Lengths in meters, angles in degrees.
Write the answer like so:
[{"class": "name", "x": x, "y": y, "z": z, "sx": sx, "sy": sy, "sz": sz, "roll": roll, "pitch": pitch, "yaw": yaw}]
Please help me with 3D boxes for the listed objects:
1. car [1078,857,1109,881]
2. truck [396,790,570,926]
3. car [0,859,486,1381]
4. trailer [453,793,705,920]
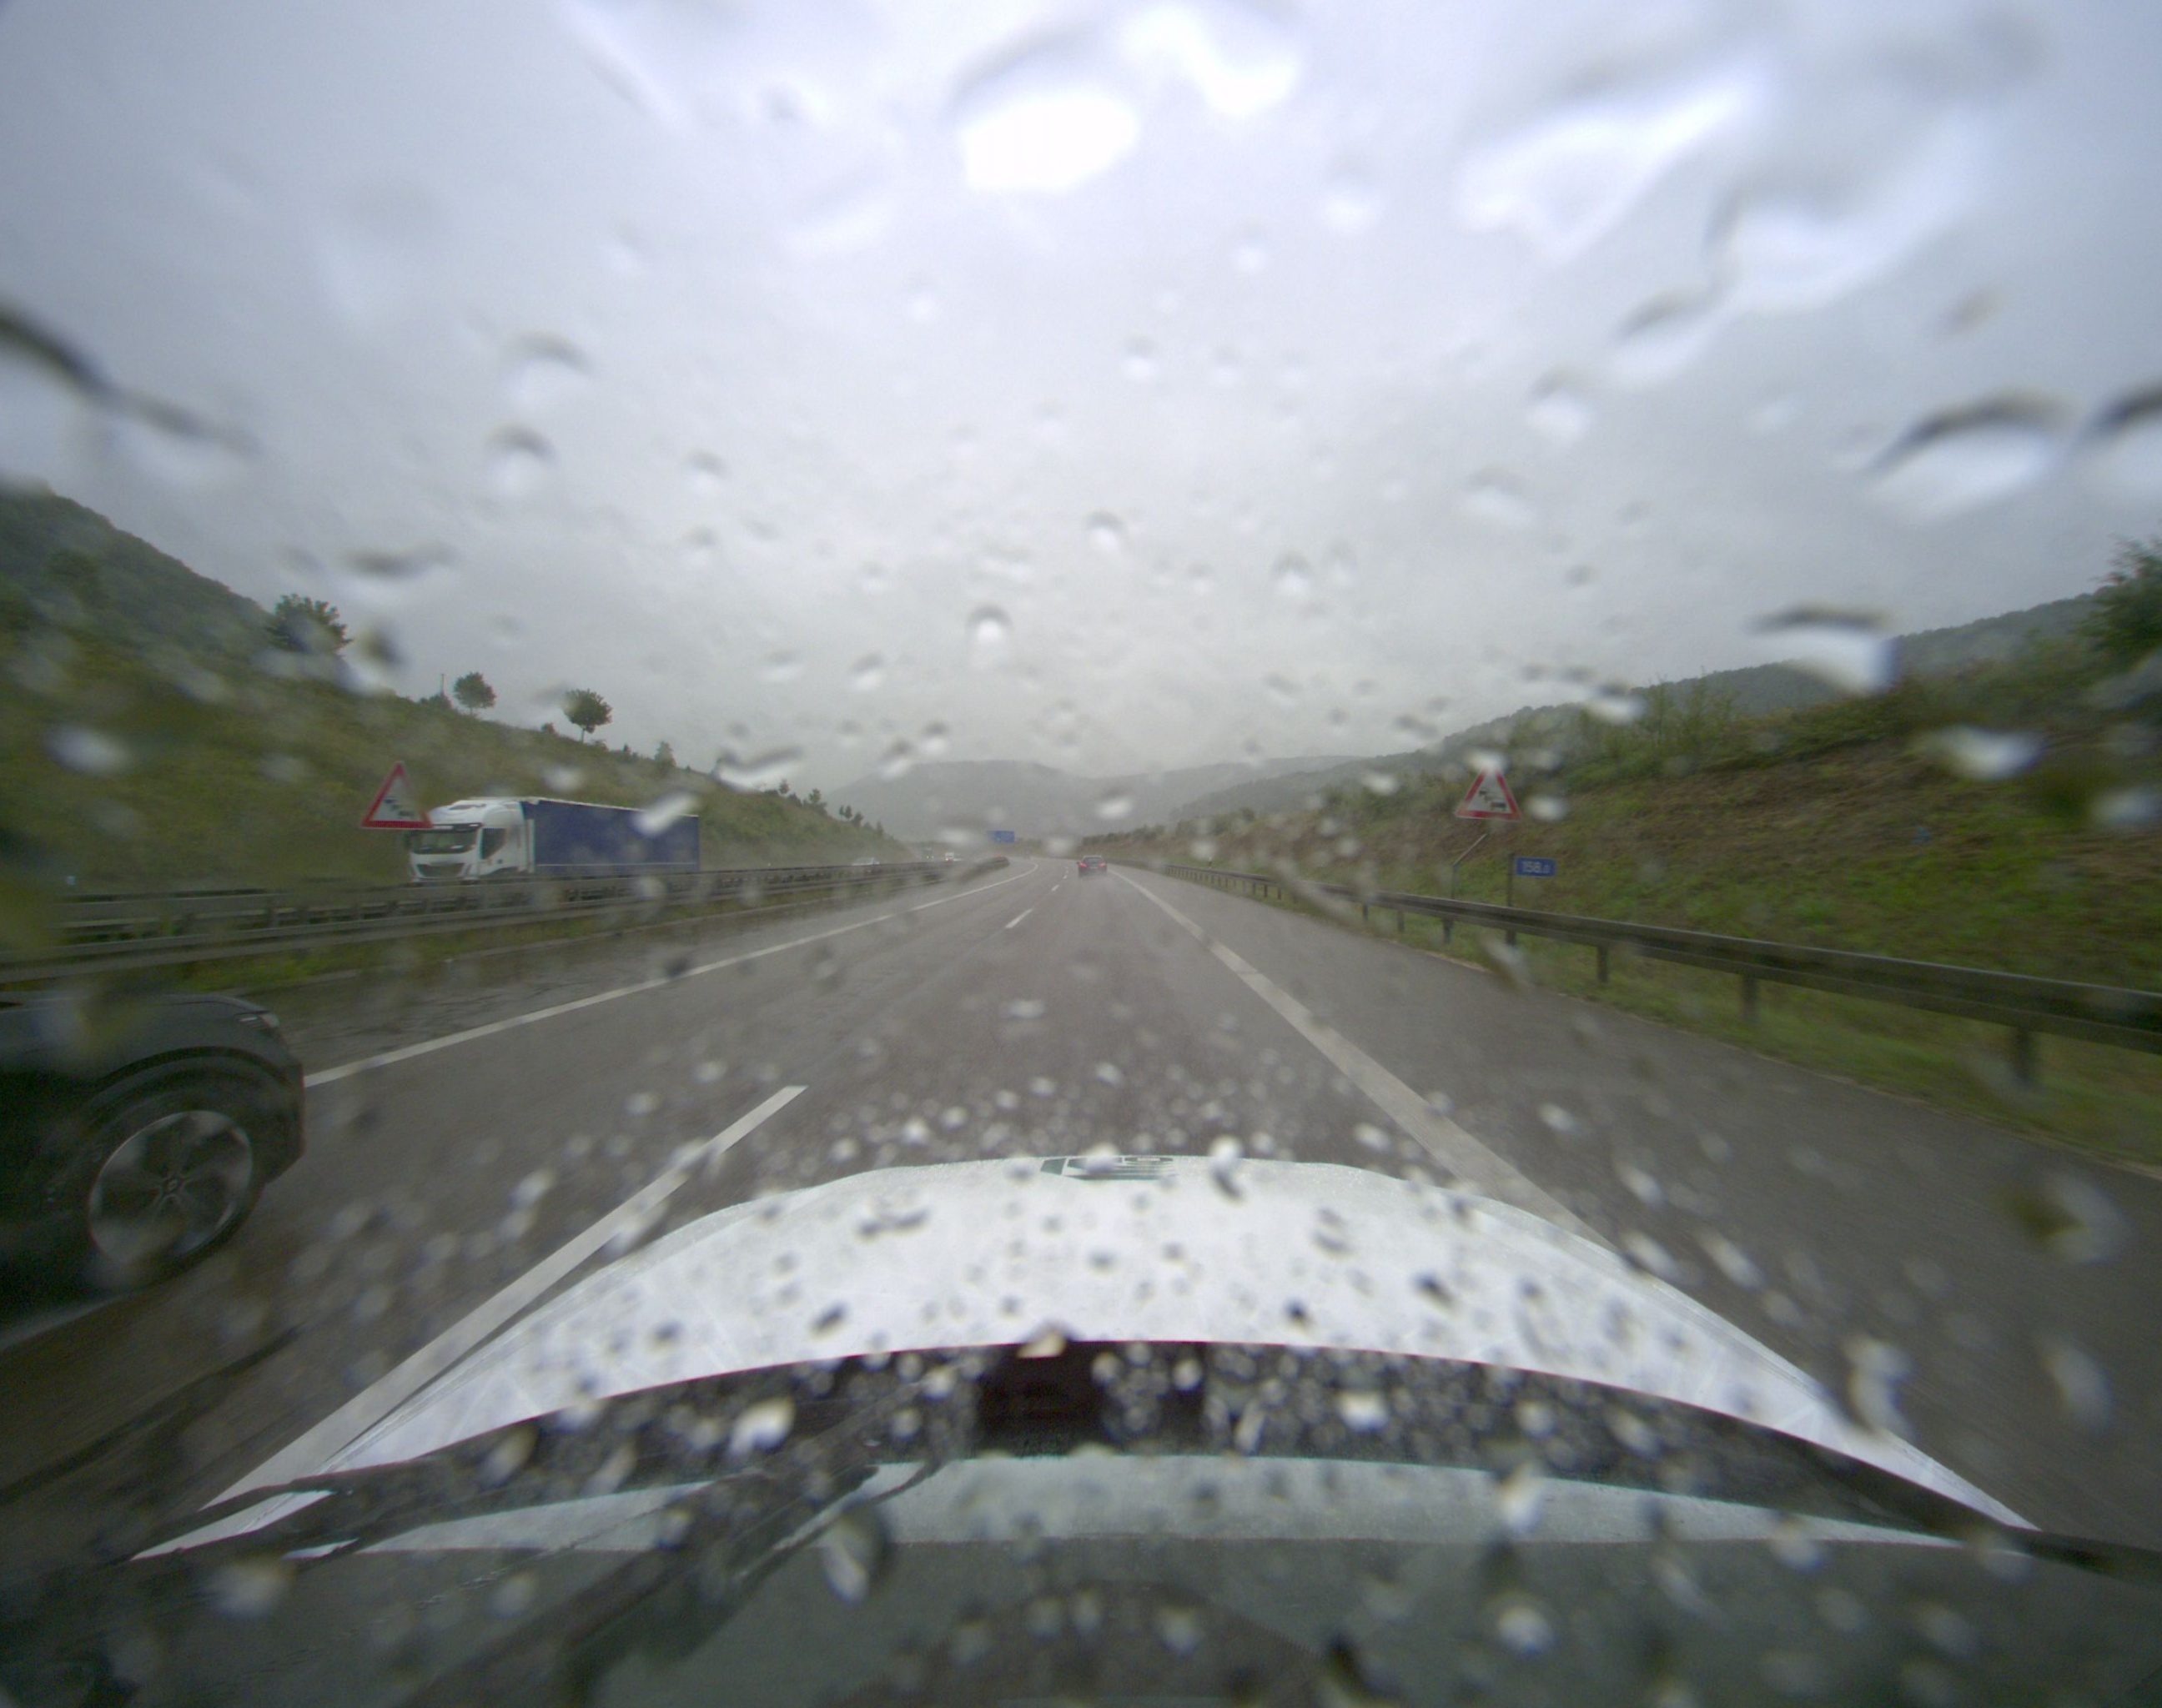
[{"class": "car", "x": 0.766, "y": 0.933, "z": 51.773, "sx": 1.675, "sy": 1.472, "sz": 3.811, "roll": -1, "pitch": 0, "yaw": -3}, {"class": "truck", "x": -22.443, "y": 0.136, "z": 30.929, "sx": 2.680, "sy": 4.672, "sz": 5.157, "roll": -1, "pitch": 0, "yaw": 1}, {"class": "car", "x": -4.408, "y": 0.810, "z": 1.865, "sx": 2.396, "sy": 1.515, "sz": 4.787, "roll": -1, "pitch": 0, "yaw": 3}, {"class": "trailer", "x": -22.304, "y": 0.093, "z": 37.948, "sx": 2.726, "sy": 4.785, "sz": 14.046, "roll": -1, "pitch": 0, "yaw": 1}]
